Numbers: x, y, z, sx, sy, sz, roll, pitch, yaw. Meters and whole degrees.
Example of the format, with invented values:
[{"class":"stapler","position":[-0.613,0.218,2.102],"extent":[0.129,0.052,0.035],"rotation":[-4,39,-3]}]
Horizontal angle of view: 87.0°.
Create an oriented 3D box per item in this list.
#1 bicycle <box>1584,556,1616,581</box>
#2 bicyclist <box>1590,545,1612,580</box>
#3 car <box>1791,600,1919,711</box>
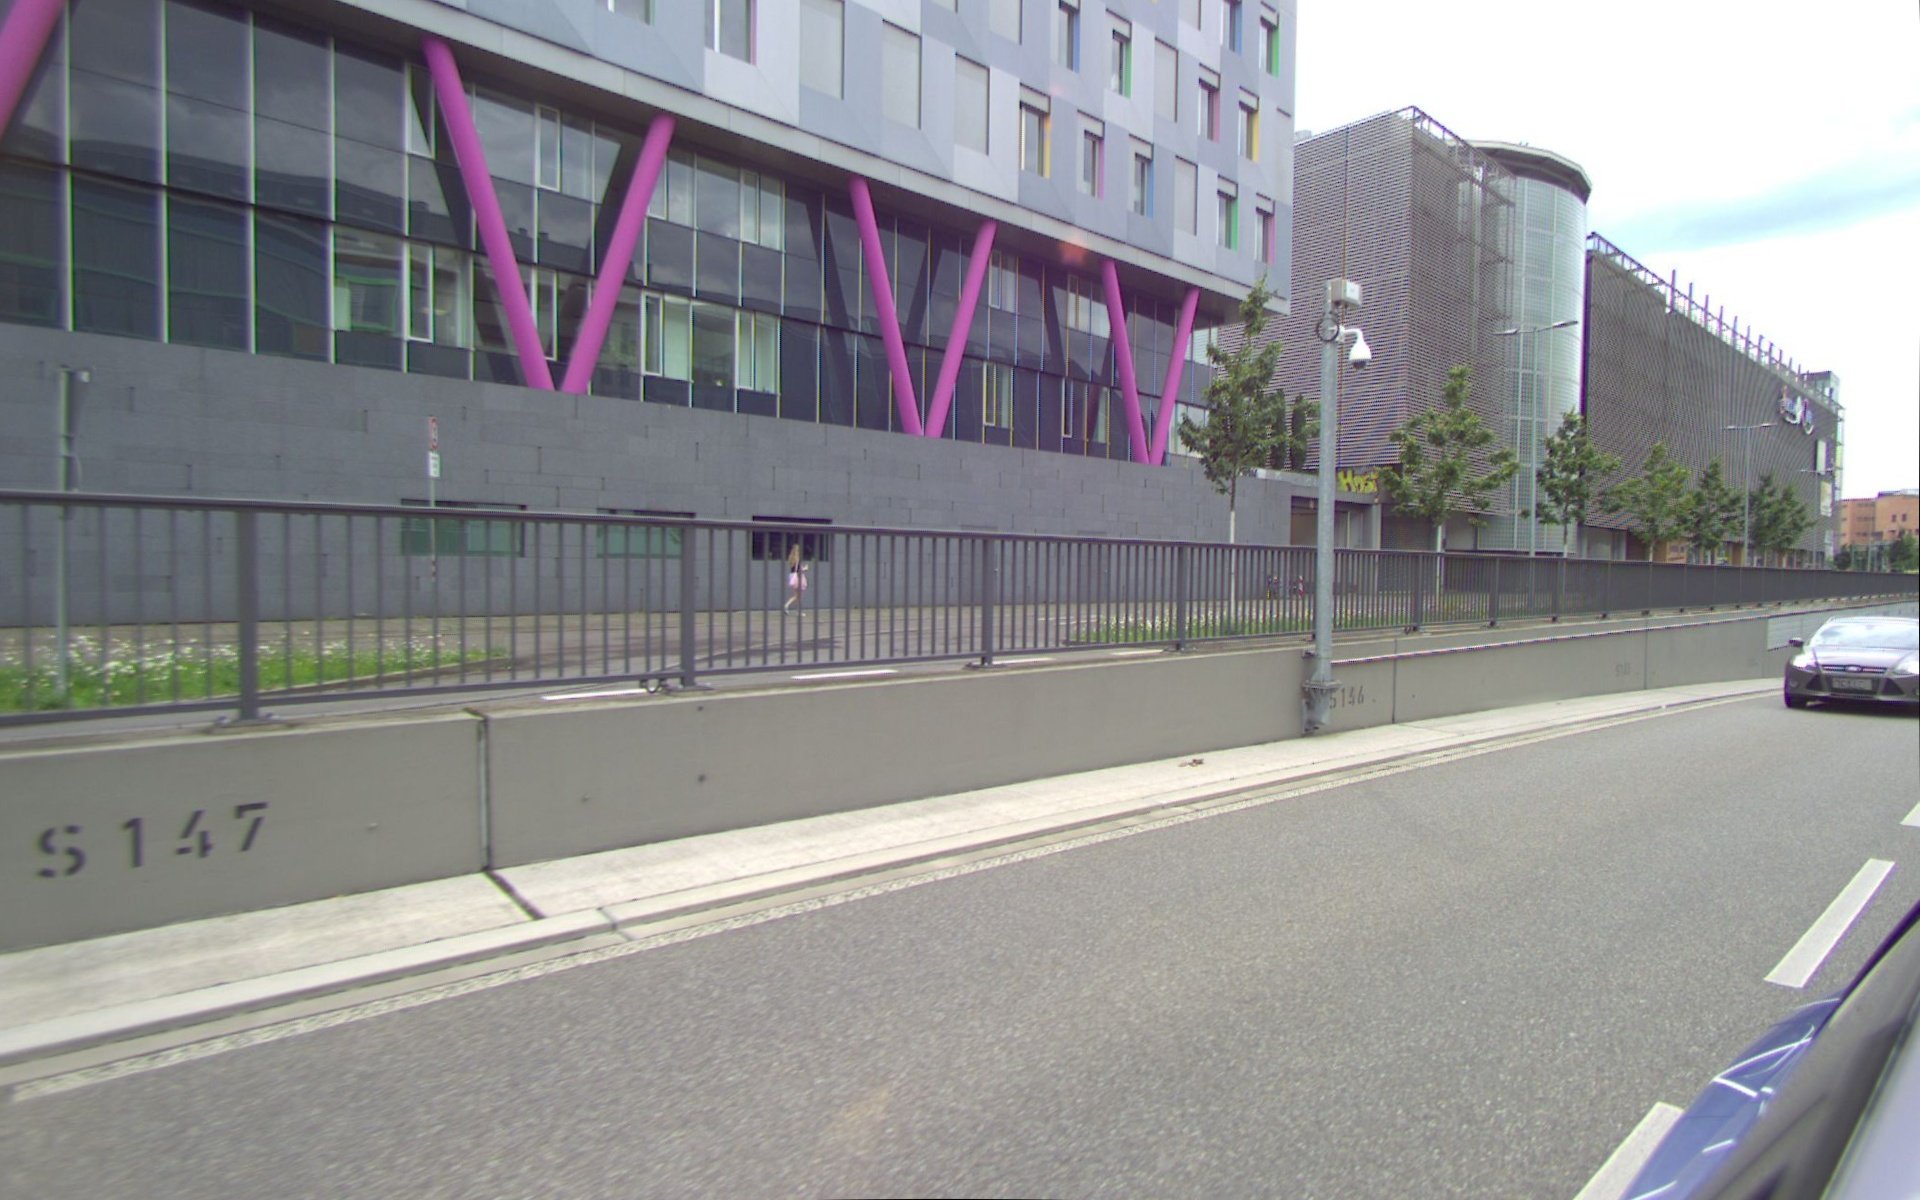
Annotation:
[{"class":"bicycle","position":[34.369,-1.671,54.340],"extent":[2.304,1.173,0.800],"rotation":[4,-2,-42]},{"class":"bicyclist","position":[34.439,-2.006,54.392],"extent":[0.692,1.826,0.783],"rotation":[5,-2,-41]},{"class":"car","position":[14.727,0.851,16.004],"extent":[4.193,1.518,1.751],"rotation":[3,0,-41]}]
